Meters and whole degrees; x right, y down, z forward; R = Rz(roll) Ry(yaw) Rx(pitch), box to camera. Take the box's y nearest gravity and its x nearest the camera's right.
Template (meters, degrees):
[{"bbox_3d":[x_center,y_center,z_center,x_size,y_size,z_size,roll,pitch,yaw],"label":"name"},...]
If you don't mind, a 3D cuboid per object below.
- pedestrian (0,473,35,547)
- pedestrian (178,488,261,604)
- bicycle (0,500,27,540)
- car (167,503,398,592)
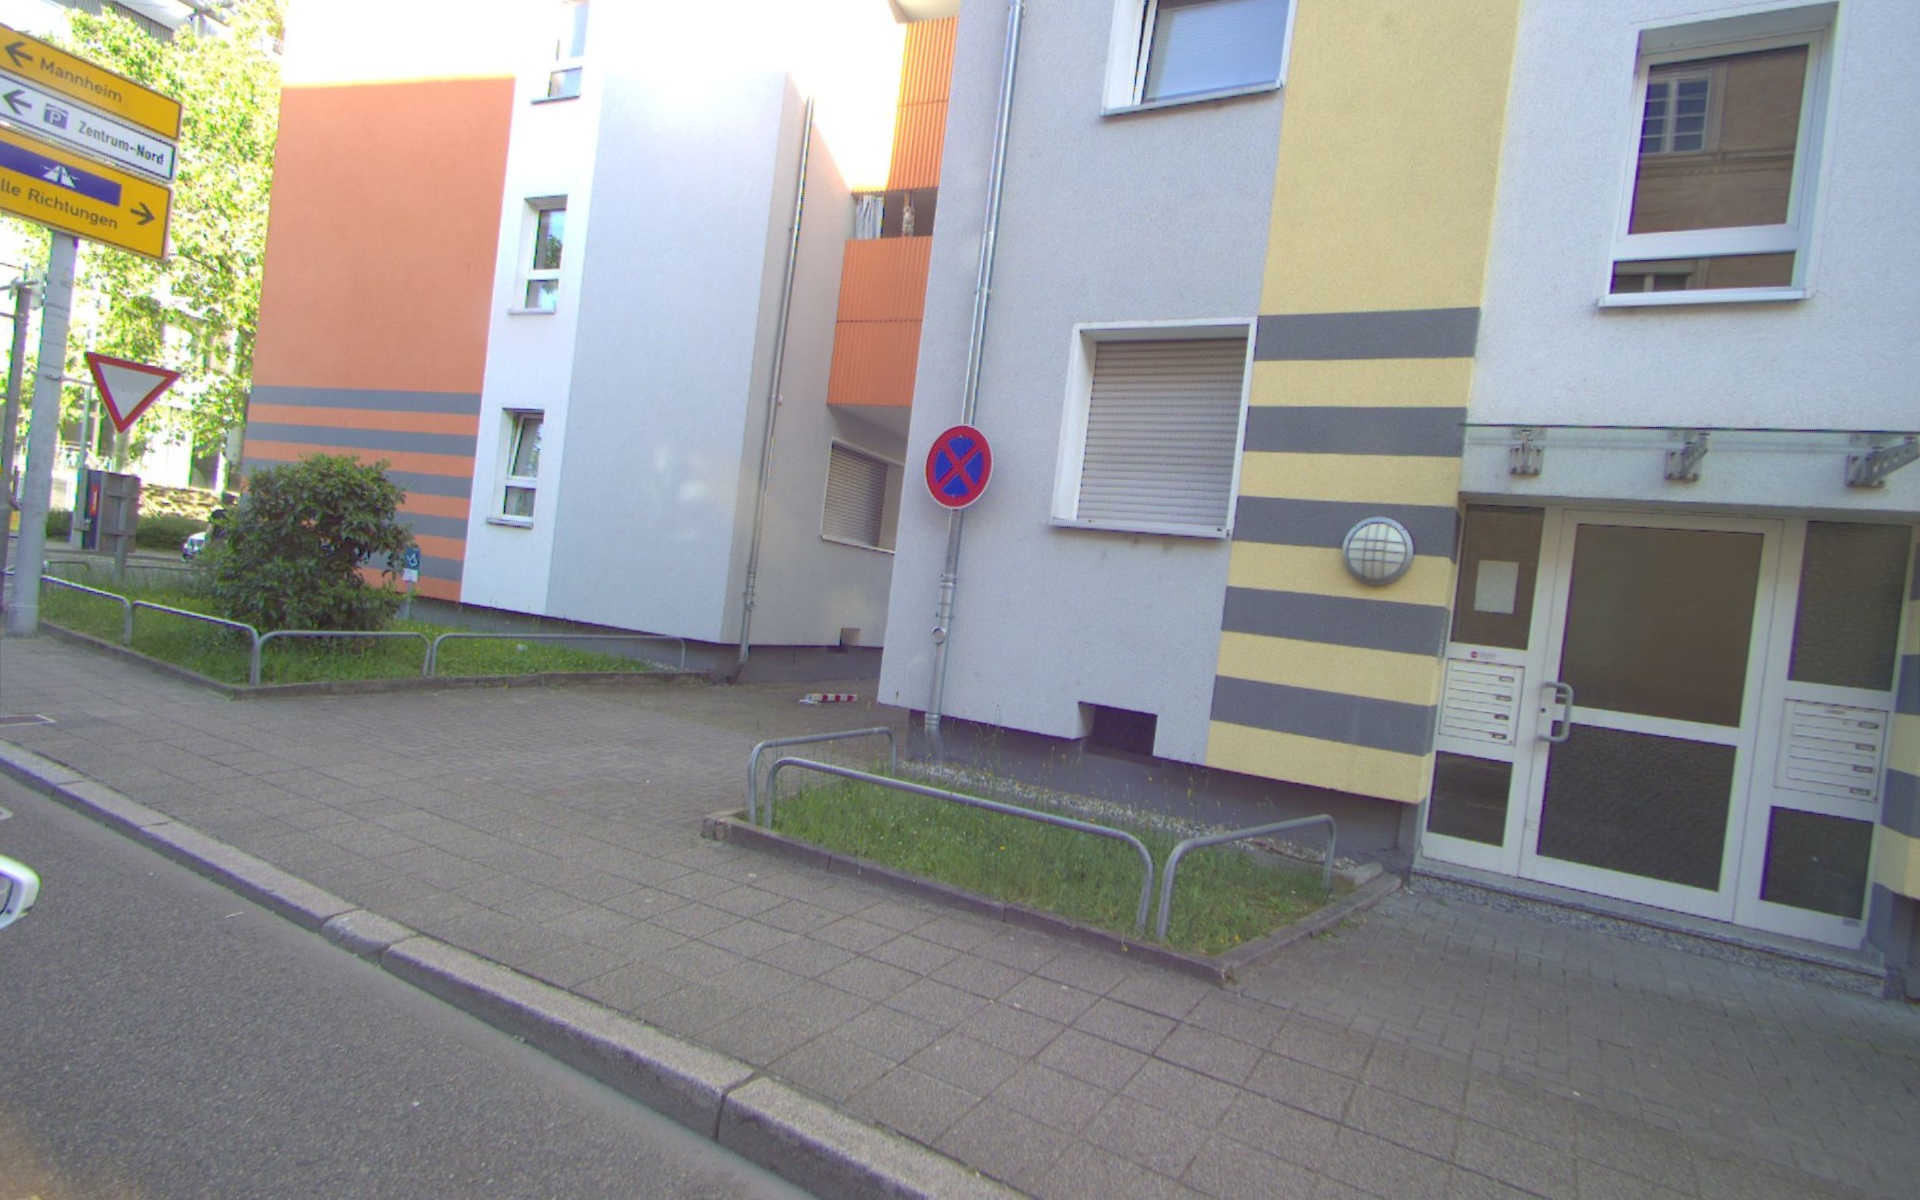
[{"bbox_3d":[-25.163,-2.388,26.375,0.903,1.837,0.760,7,-1,-17],"label":"pedestrian"},{"bbox_3d":[-12.559,-0.901,17.082,0.690,1.831,0.719,7,-1,-9],"label":"pedestrian"},{"bbox_3d":[-26.411,-2.243,27.403,1.409,1.021,0.379,7,1,-11],"label":"bicycle"},{"bbox_3d":[-16.642,-1.245,24.951,1.689,1.532,4.364,7,-1,30],"label":"car"}]
